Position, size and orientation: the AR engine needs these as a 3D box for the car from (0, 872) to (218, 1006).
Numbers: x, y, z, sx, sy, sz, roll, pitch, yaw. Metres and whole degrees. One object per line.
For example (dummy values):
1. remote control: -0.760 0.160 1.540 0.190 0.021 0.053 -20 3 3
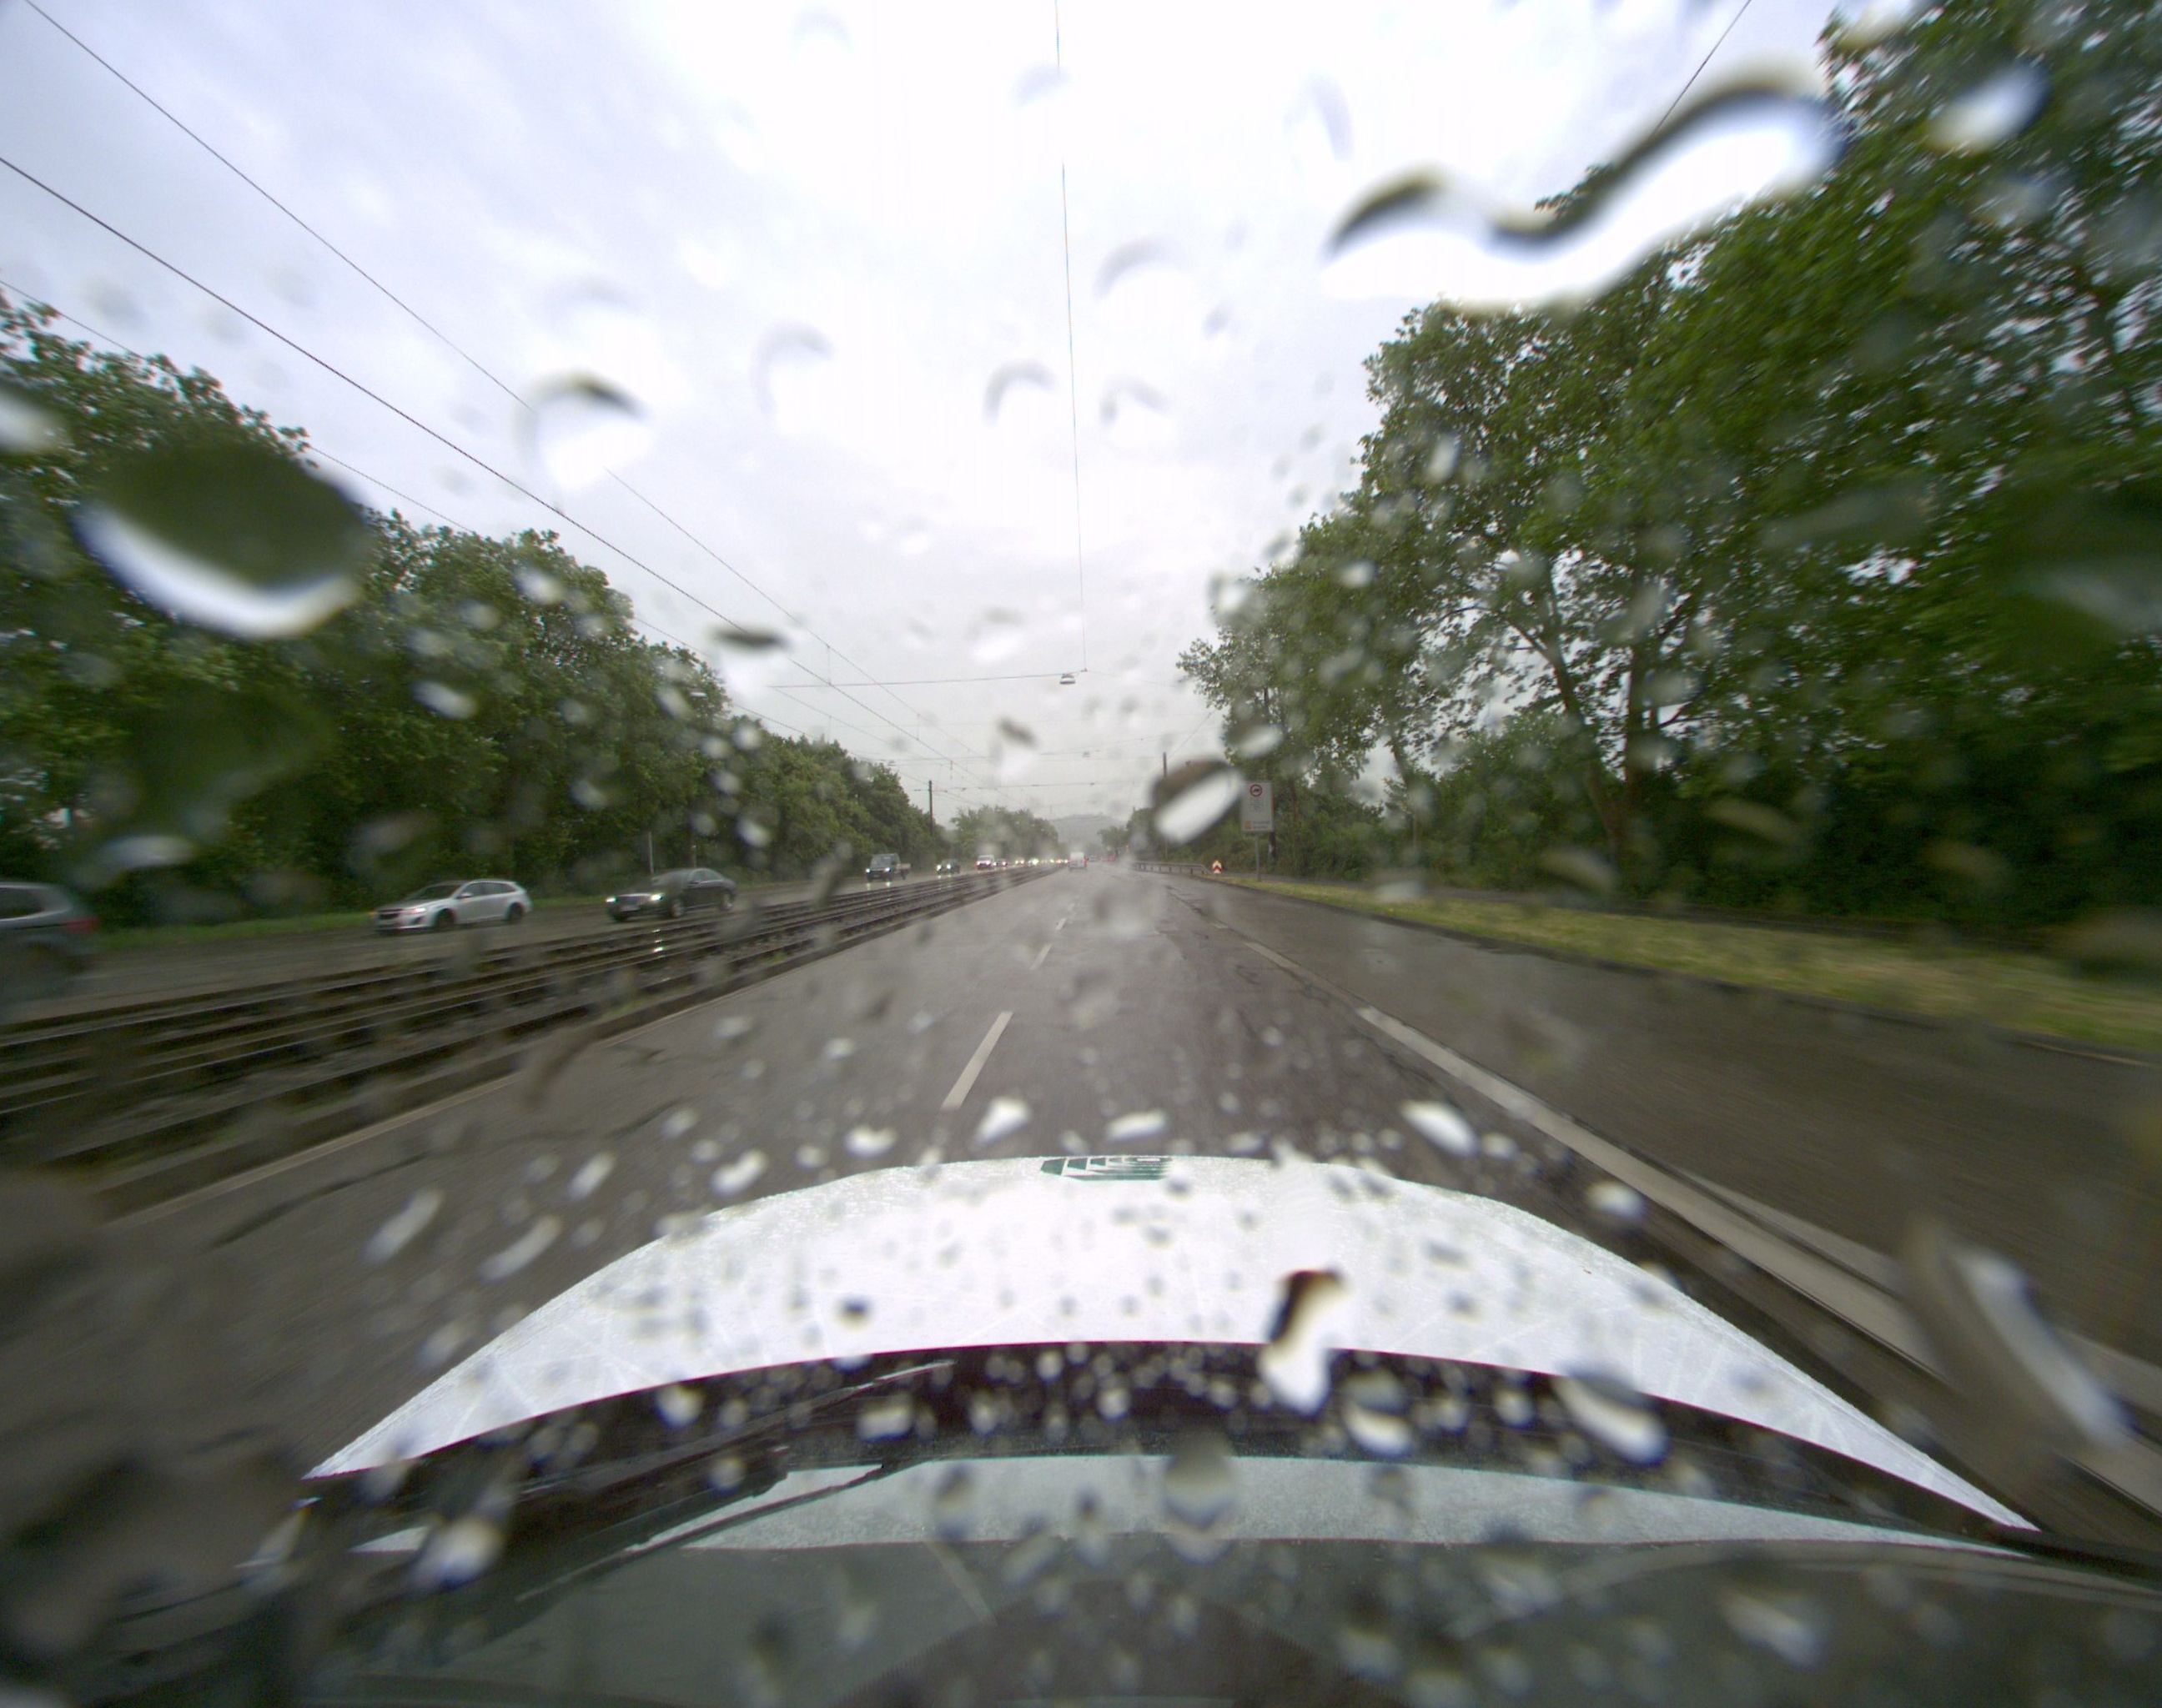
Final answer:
1. car: -15.519 1.217 10.647 1.813 1.705 6.107 0 1 1

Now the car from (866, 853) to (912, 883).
1. car: -16.286 1.125 69.538 2.091 2.342 6.992 0 1 1

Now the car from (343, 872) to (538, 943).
1. car: -19.078 1.507 24.633 1.813 1.705 5.022 0 1 1

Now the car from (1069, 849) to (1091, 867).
1. car: -0.068 0.358 78.570 1.981 1.683 3.743 0 1 3

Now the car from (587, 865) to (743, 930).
1. car: -12.571 1.229 25.156 1.769 1.585 5.683 0 1 1

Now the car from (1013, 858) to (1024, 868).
1. car: -12.289 1.726 160.383 1.748 1.711 4.001 0 1 1

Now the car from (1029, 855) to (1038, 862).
1. car: -10.953 1.091 187.852 1.791 1.453 4.197 0 1 2

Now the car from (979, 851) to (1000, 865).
1. car: -12.744 0.587 113.292 2.031 1.775 4.990 0 1 3

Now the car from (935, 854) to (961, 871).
1. car: -14.629 0.936 89.646 1.833 1.716 4.168 0 1 4

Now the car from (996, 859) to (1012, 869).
1. car: -12.351 1.580 130.619 1.681 1.519 4.617 0 1 4
